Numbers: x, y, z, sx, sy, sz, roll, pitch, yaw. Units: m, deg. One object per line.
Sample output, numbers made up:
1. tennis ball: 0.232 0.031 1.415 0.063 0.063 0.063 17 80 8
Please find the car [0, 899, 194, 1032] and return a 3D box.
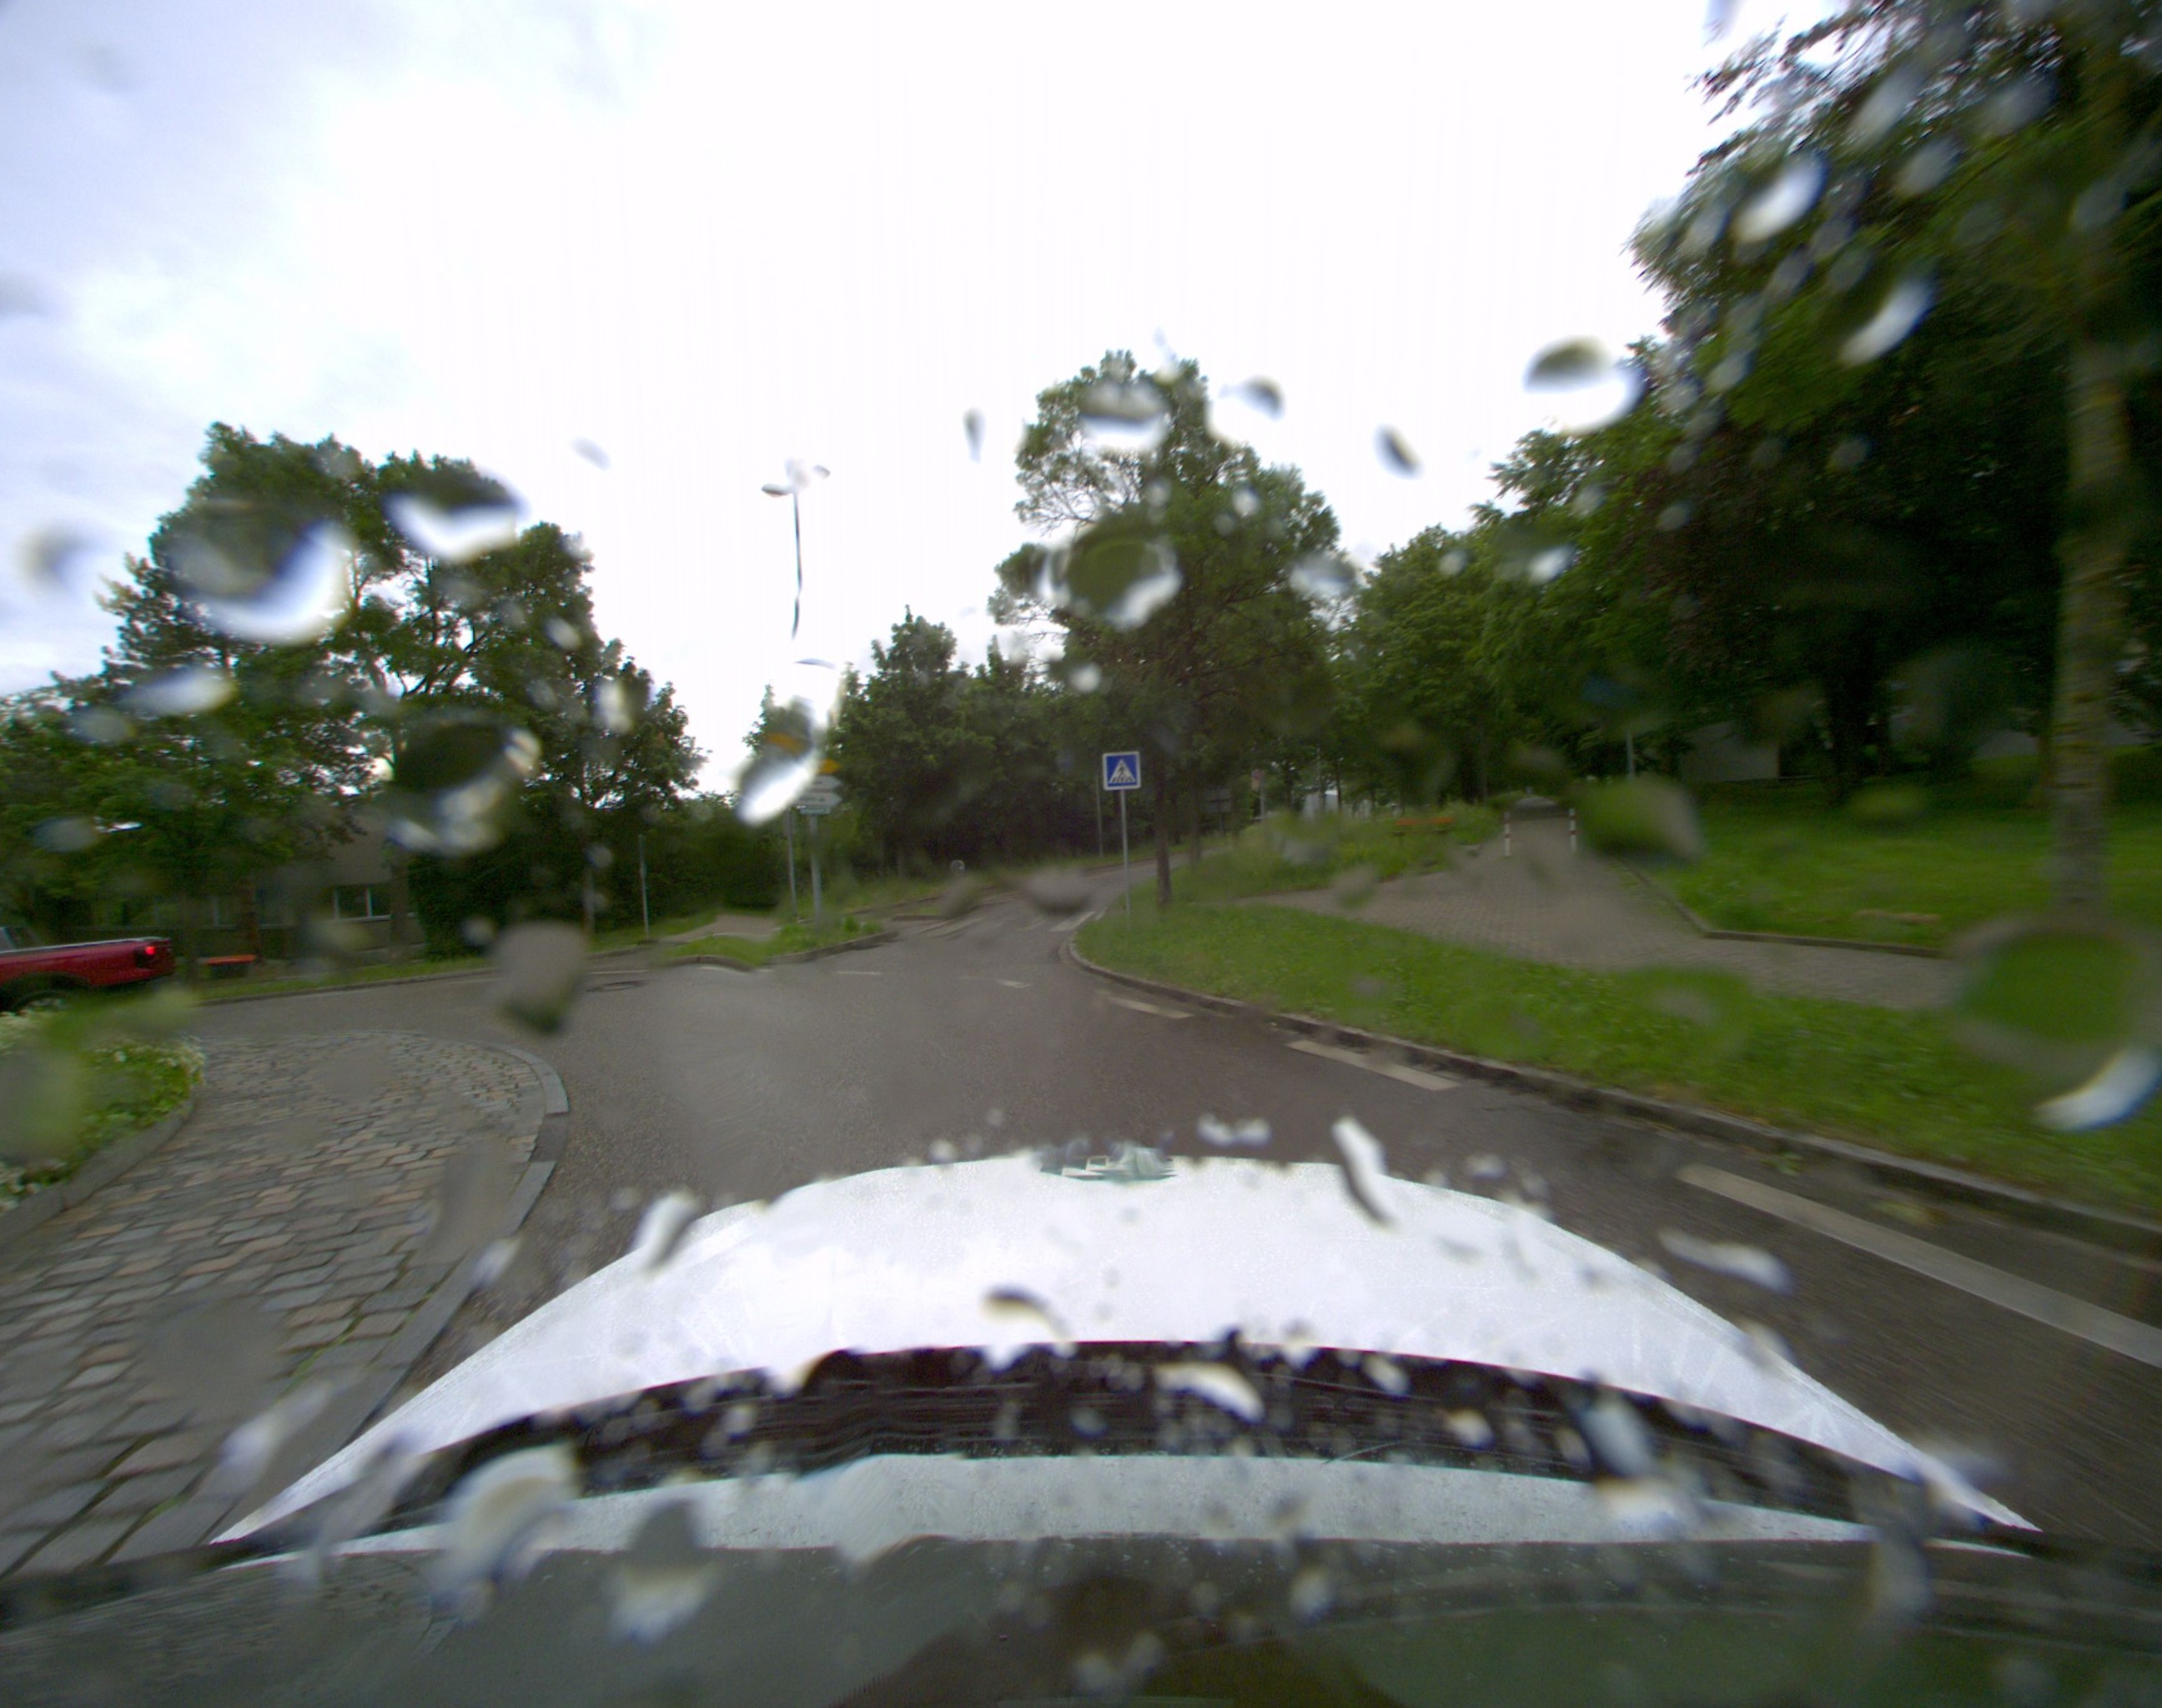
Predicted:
1. car: -17.353 1.842 12.240 5.139 1.795 1.976 -5 1 -41
